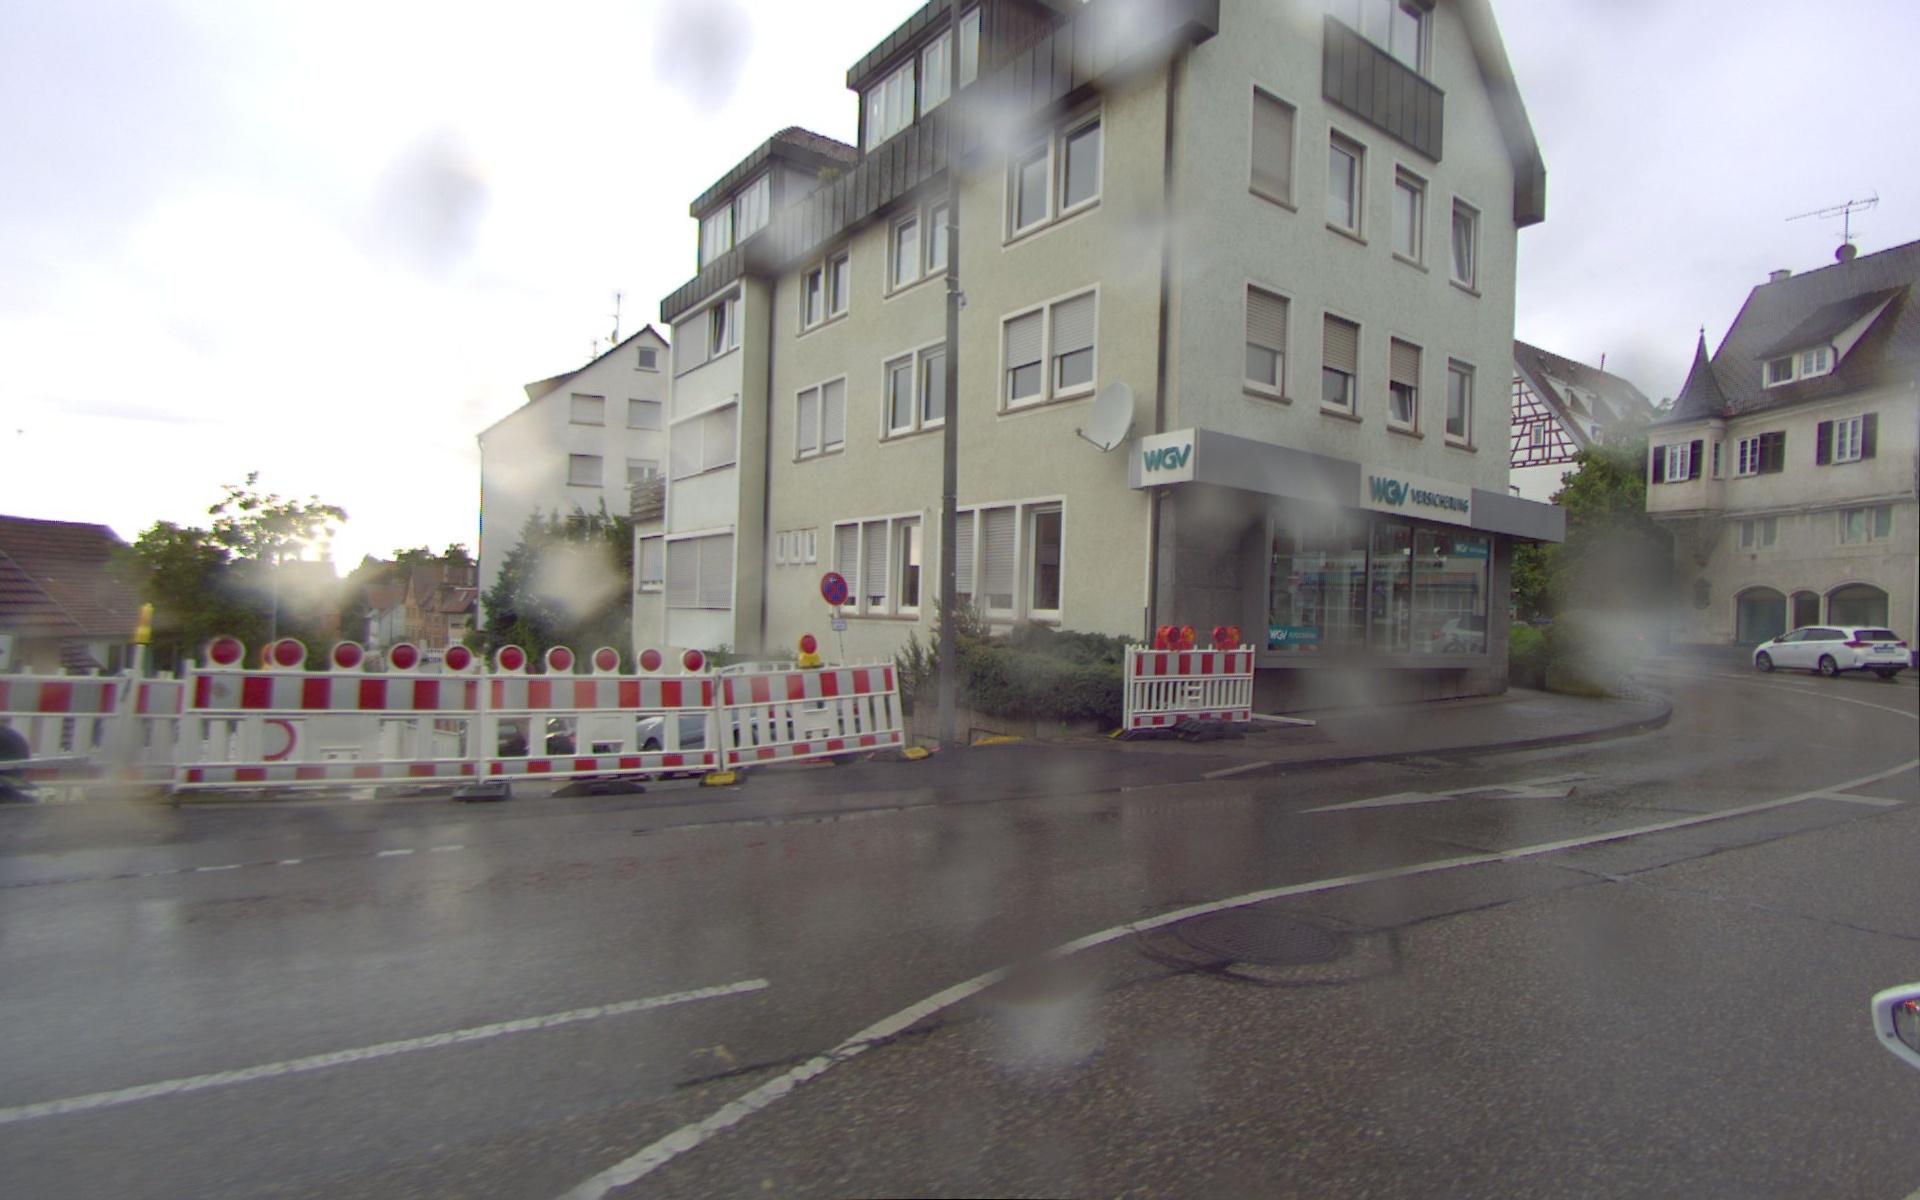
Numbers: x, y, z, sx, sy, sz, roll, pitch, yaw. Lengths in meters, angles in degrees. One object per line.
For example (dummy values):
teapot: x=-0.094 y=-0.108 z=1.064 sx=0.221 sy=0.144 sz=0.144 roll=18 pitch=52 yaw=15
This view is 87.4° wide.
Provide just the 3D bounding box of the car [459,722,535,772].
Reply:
car: x=-14.603 y=4.633 z=31.597 sx=1.485 sy=1.327 sz=3.425 roll=-1 pitch=-7 yaw=-36

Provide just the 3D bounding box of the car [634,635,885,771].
car: x=-2.640 y=1.353 z=12.680 sx=1.637 sy=1.407 sz=3.475 roll=-1 pitch=-7 yaw=-39

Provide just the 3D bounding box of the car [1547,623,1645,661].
car: x=25.959 y=1.664 z=41.129 sx=1.494 sy=1.380 sz=3.765 roll=0 pitch=0 yaw=-3

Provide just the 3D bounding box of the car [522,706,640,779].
car: x=-8.271 y=3.087 z=21.752 sx=1.485 sy=1.327 sz=3.425 roll=-1 pitch=-7 yaw=-36

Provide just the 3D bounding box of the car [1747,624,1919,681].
car: x=25.970 y=1.510 z=30.093 sx=1.755 sy=1.485 sz=4.165 roll=0 pitch=0 yaw=4

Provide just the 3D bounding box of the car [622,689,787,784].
car: x=-4.404 y=2.322 z=17.003 sx=1.485 sy=1.327 sz=3.425 roll=-1 pitch=-7 yaw=-36
